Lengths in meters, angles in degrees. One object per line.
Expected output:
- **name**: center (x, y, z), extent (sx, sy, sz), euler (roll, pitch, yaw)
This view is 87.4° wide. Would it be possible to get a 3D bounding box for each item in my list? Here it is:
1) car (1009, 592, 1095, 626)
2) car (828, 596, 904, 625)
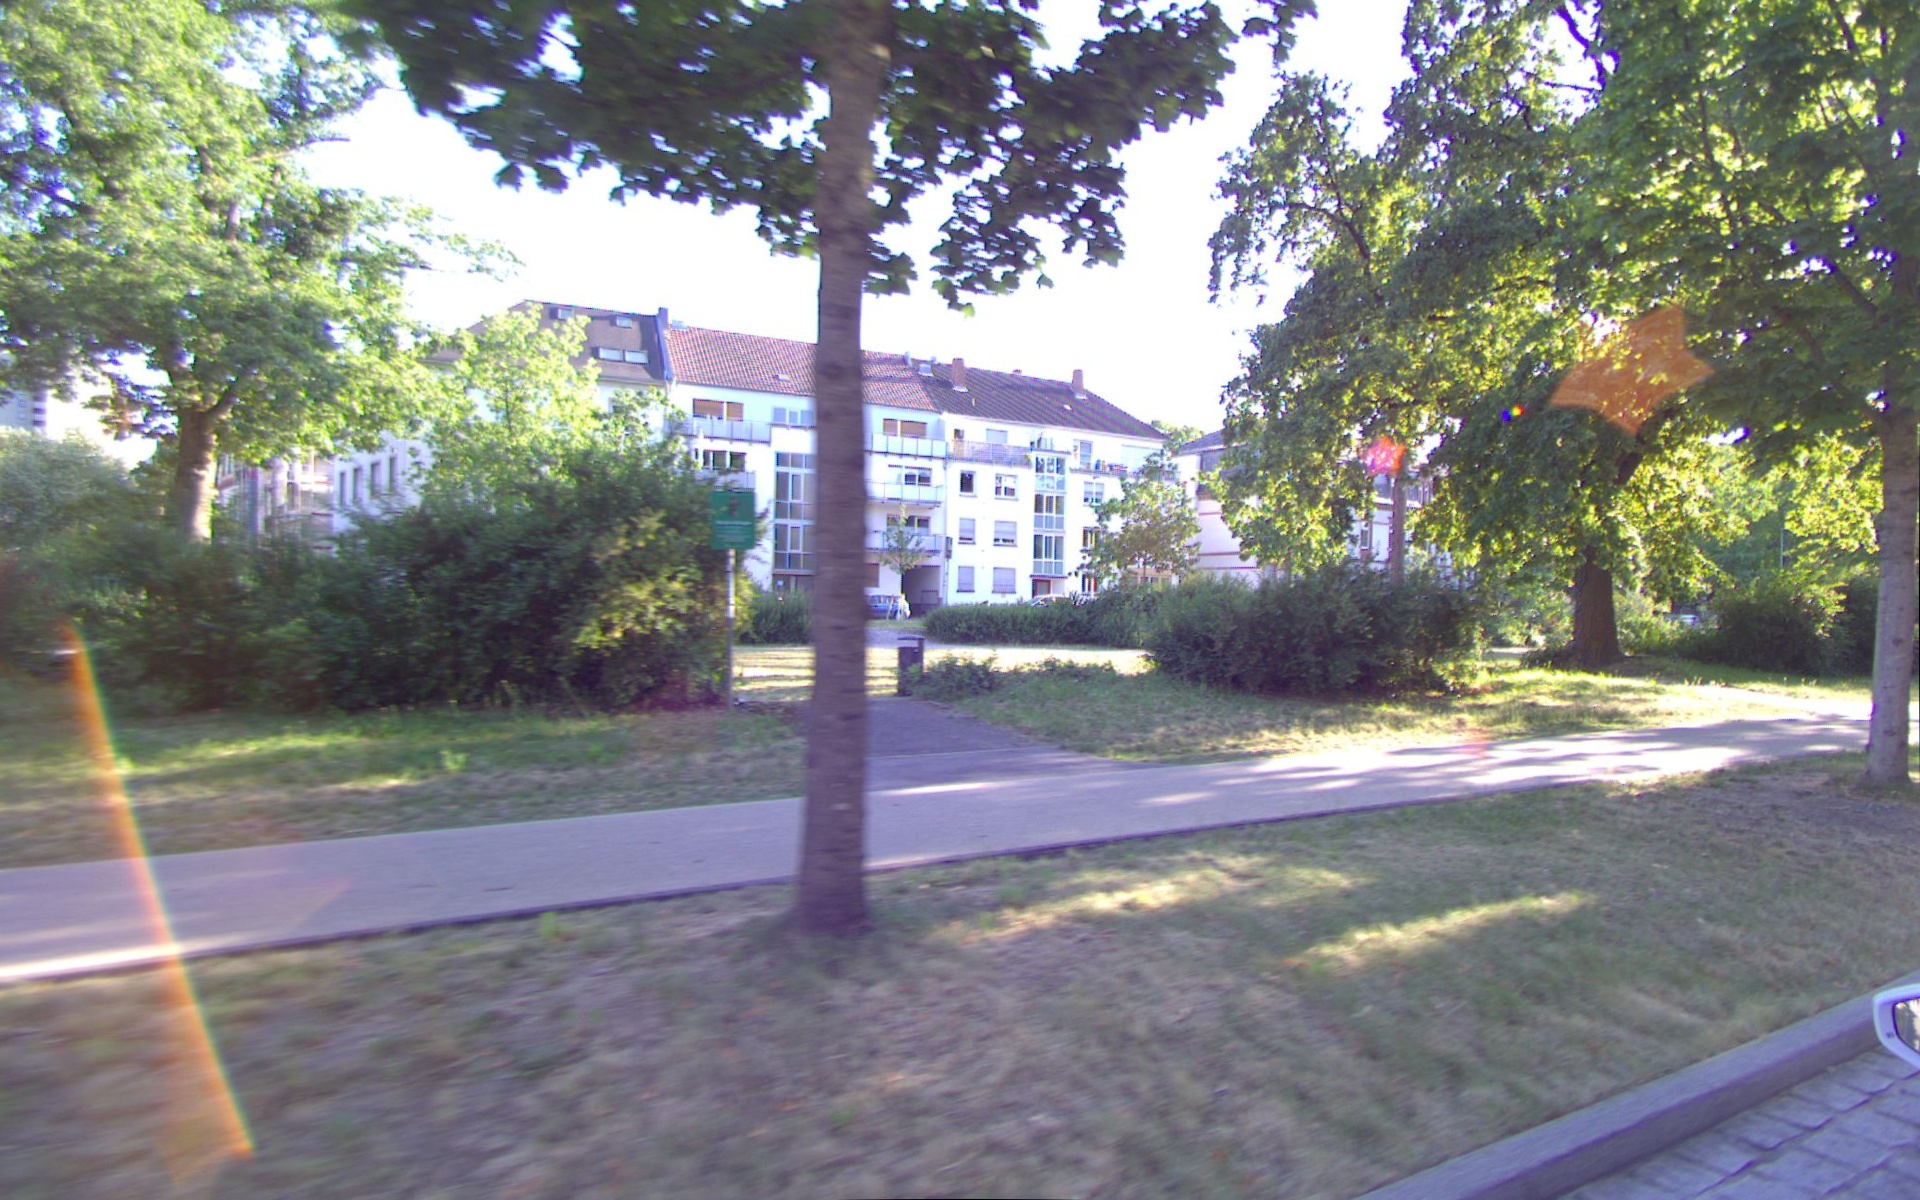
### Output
- **car**: center (5.246, 0.519, 57.197), extent (4.524, 1.877, 1.986), euler (1, 0, -27)
- **car**: center (-4.870, 0.539, 52.078), extent (3.659, 1.391, 1.611), euler (0, 2, -23)
